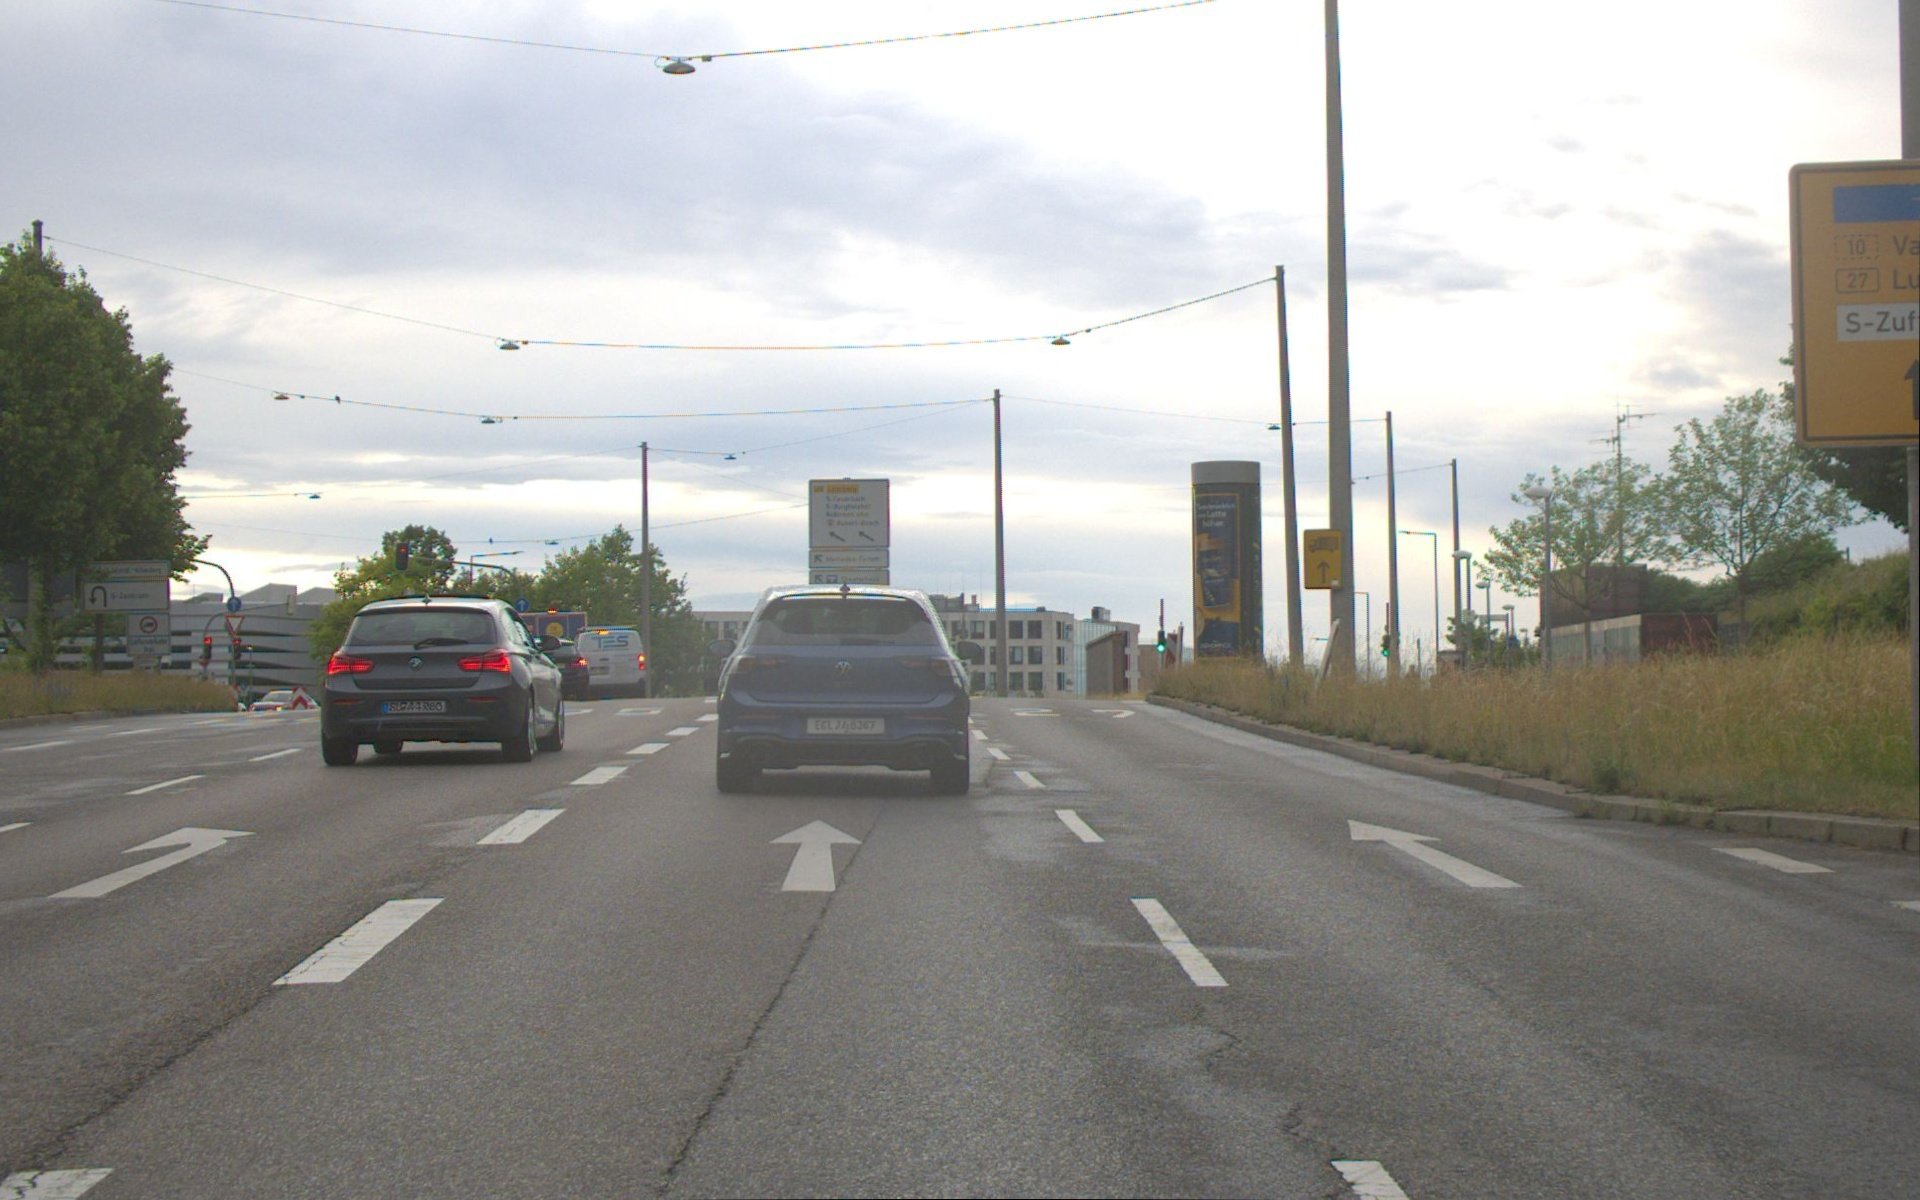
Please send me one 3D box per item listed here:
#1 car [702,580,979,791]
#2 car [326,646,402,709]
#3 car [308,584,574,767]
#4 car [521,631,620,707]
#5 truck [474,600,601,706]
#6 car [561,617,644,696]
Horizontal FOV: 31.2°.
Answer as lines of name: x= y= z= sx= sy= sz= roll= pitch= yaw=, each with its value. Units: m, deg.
car: x=-0.799 y=0.595 z=24.910 sx=1.838 sy=1.389 sz=4.000 roll=0 pitch=-1 yaw=0
car: x=-20.578 y=2.659 z=118.609 sx=1.993 sy=2.007 sz=4.001 roll=-2 pitch=1 yaw=-18
car: x=-4.524 y=0.616 z=30.483 sx=1.869 sy=1.456 sz=3.976 roll=0 pitch=1 yaw=-2
car: x=-8.805 y=1.553 z=77.968 sx=1.722 sy=1.536 sz=3.703 roll=2 pitch=1 yaw=1
truck: x=-13.351 y=1.712 z=108.230 sx=2.665 sy=3.209 sz=6.550 roll=1 pitch=-2 yaw=-18
car: x=-9.569 y=1.535 z=91.751 sx=1.904 sy=1.966 sz=5.093 roll=-1 pitch=-2 yaw=-9
